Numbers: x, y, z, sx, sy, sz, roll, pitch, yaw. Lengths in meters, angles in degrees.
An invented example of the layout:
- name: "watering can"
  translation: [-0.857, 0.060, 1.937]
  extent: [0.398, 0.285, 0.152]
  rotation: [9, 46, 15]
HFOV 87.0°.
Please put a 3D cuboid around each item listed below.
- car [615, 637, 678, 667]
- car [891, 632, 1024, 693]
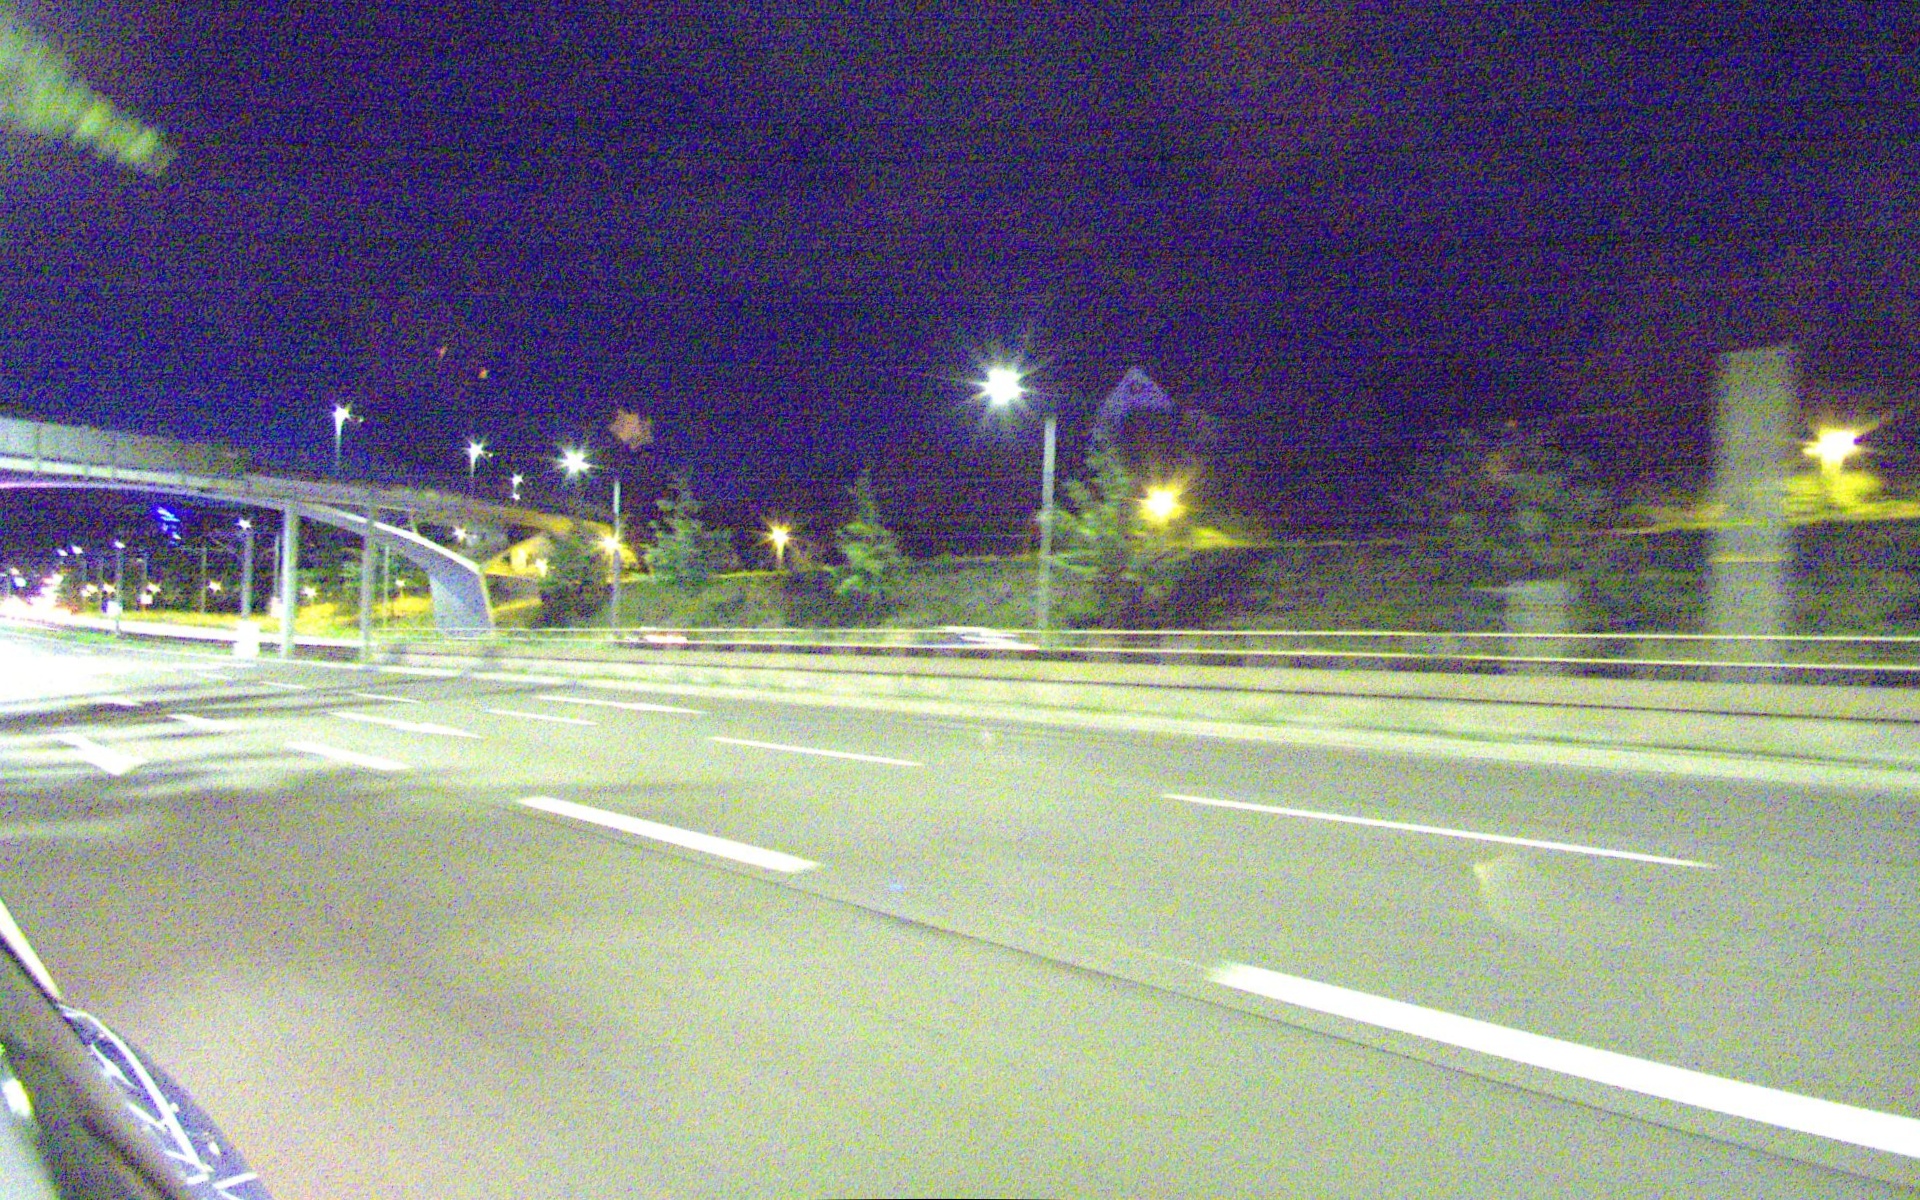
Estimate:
- name: "car"
  translation: [-15.674, 2.583, 50.576]
  extent: [3.390, 1.279, 1.511]
  rotation: [0, 0, 42]
- name: "car"
  translation: [-0.109, 1.911, 31.799]
  extent: [3.998, 1.708, 1.782]
  rotation: [-1, -1, 41]
